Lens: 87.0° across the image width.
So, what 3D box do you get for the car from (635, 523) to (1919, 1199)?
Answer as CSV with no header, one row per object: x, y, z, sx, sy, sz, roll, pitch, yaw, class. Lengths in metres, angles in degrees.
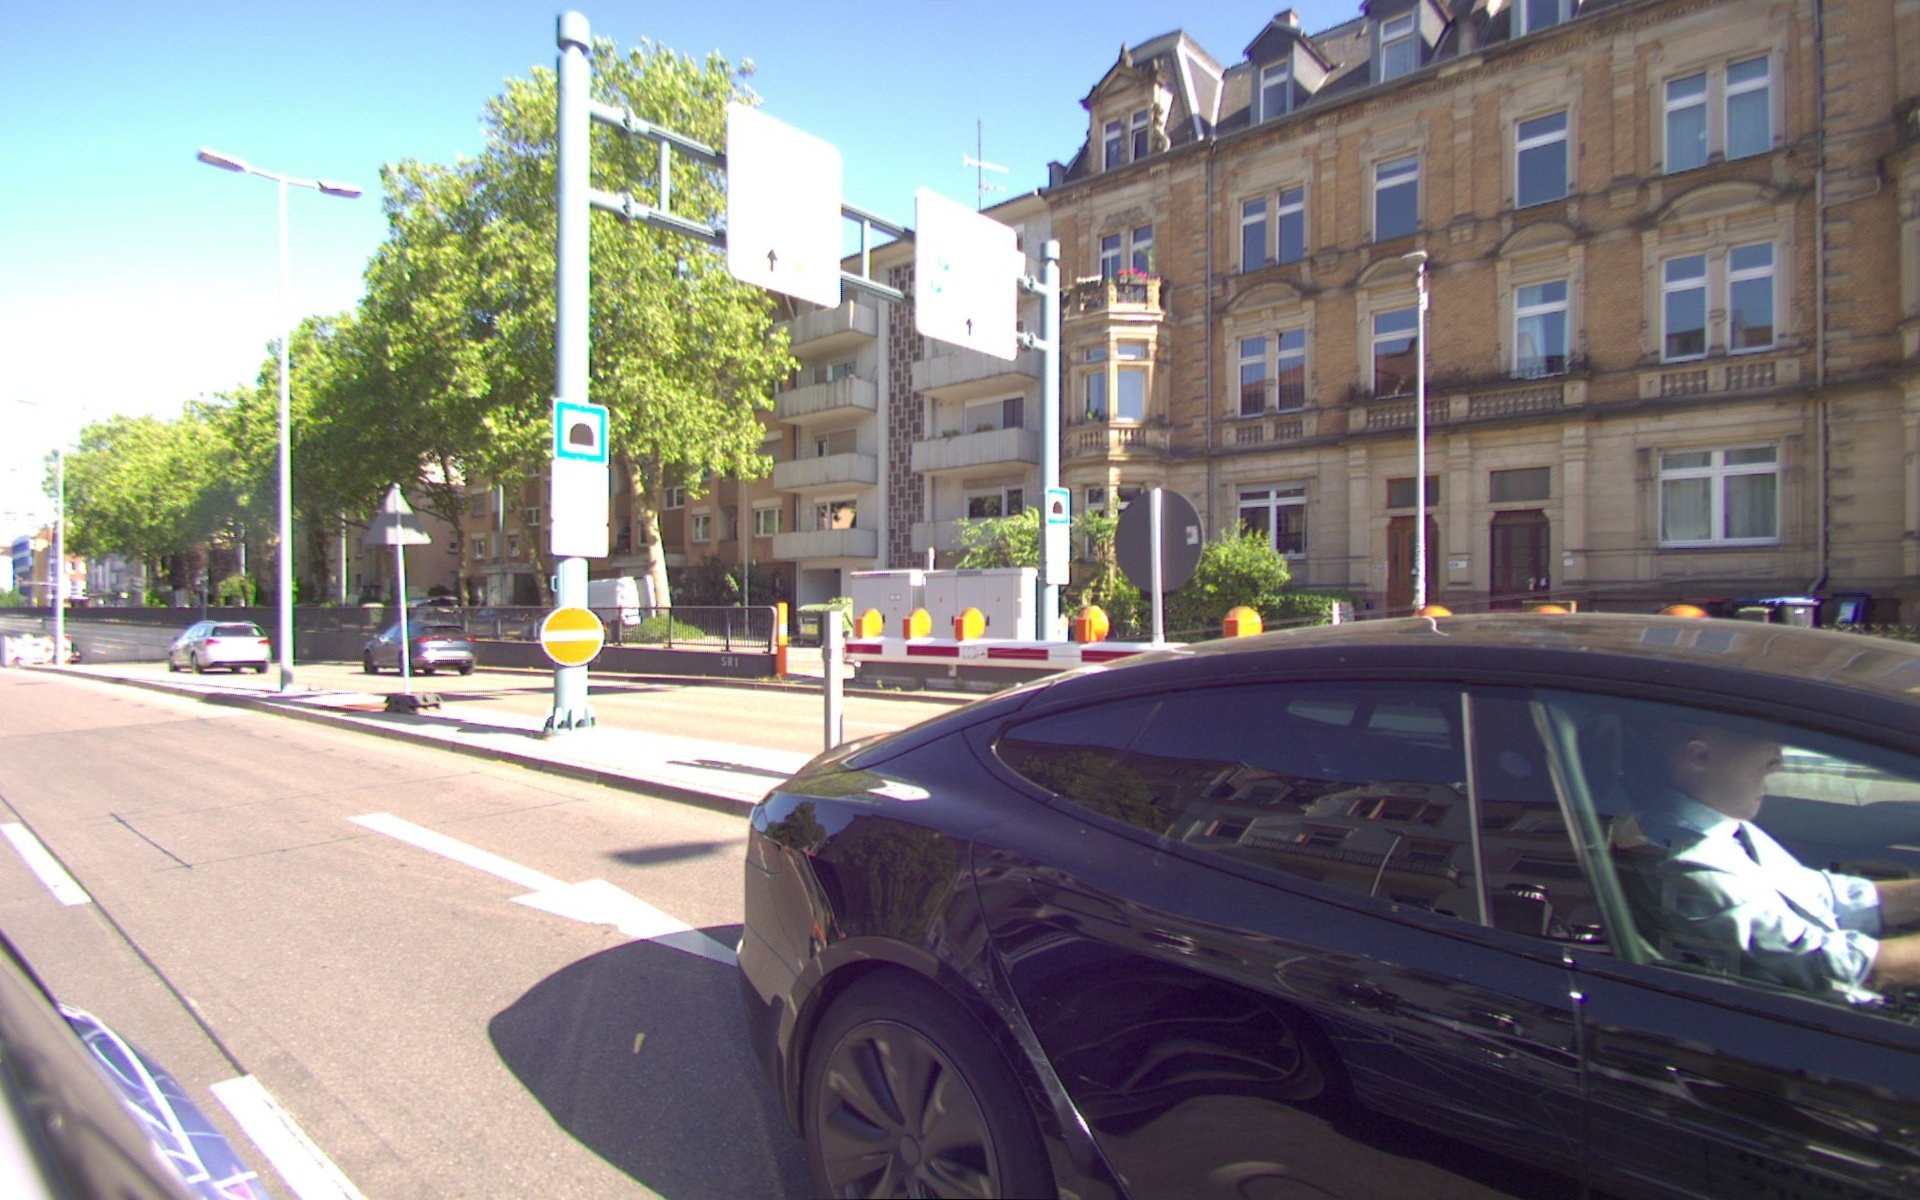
1.525,0.632,1.780,4.624,1.422,1.905,-2,-1,42,car

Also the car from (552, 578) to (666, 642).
-14.525,0.493,41.729,5.287,2.465,2.220,-3,-4,43,car

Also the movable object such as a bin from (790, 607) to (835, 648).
-5.022,0.967,34.552,1.314,1.373,0.883,-2,-4,41,movable object such as a bin

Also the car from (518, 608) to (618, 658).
-13.366,1.137,34.434,3.688,1.449,1.611,-5,-2,41,car

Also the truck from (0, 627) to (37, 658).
-76.926,3.478,82.254,5.366,2.413,2.255,-2,-4,42,truck

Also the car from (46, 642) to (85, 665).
-61.938,3.694,70.092,3.296,1.485,1.641,-1,-1,41,car

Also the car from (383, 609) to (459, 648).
-22.749,1.179,42.670,3.689,1.498,1.611,-1,2,42,car

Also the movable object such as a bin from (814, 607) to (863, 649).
-4.034,0.934,33.568,1.474,1.371,0.883,-3,-4,43,movable object such as a bin

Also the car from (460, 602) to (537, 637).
-22.287,0.980,48.802,4.000,1.592,1.972,-2,-4,43,car

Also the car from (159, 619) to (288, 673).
-21.708,1.403,29.769,4.613,1.464,1.973,-3,-4,40,car

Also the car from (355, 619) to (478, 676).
-15.134,1.294,28.091,4.309,1.452,1.590,-1,-4,42,car

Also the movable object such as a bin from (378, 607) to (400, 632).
-38.237,1.318,67.752,1.253,1.654,0.873,-2,-4,41,movable object such as a bin

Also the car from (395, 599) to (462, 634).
-28.572,0.903,54.358,4.000,1.766,1.972,-2,-2,43,car

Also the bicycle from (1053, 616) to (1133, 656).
3.578,0.974,27.467,2.248,1.012,0.462,-2,0,41,bicycle

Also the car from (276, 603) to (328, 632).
-44.952,1.227,69.143,3.998,1.864,1.972,-2,-4,41,car

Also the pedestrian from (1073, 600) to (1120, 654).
3.609,0.704,26.810,1.089,1.388,0.560,-1,-1,40,pedestrian

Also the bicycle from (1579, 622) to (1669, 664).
12.708,0.815,19.400,1.414,0.777,0.295,-1,-1,43,bicycle
